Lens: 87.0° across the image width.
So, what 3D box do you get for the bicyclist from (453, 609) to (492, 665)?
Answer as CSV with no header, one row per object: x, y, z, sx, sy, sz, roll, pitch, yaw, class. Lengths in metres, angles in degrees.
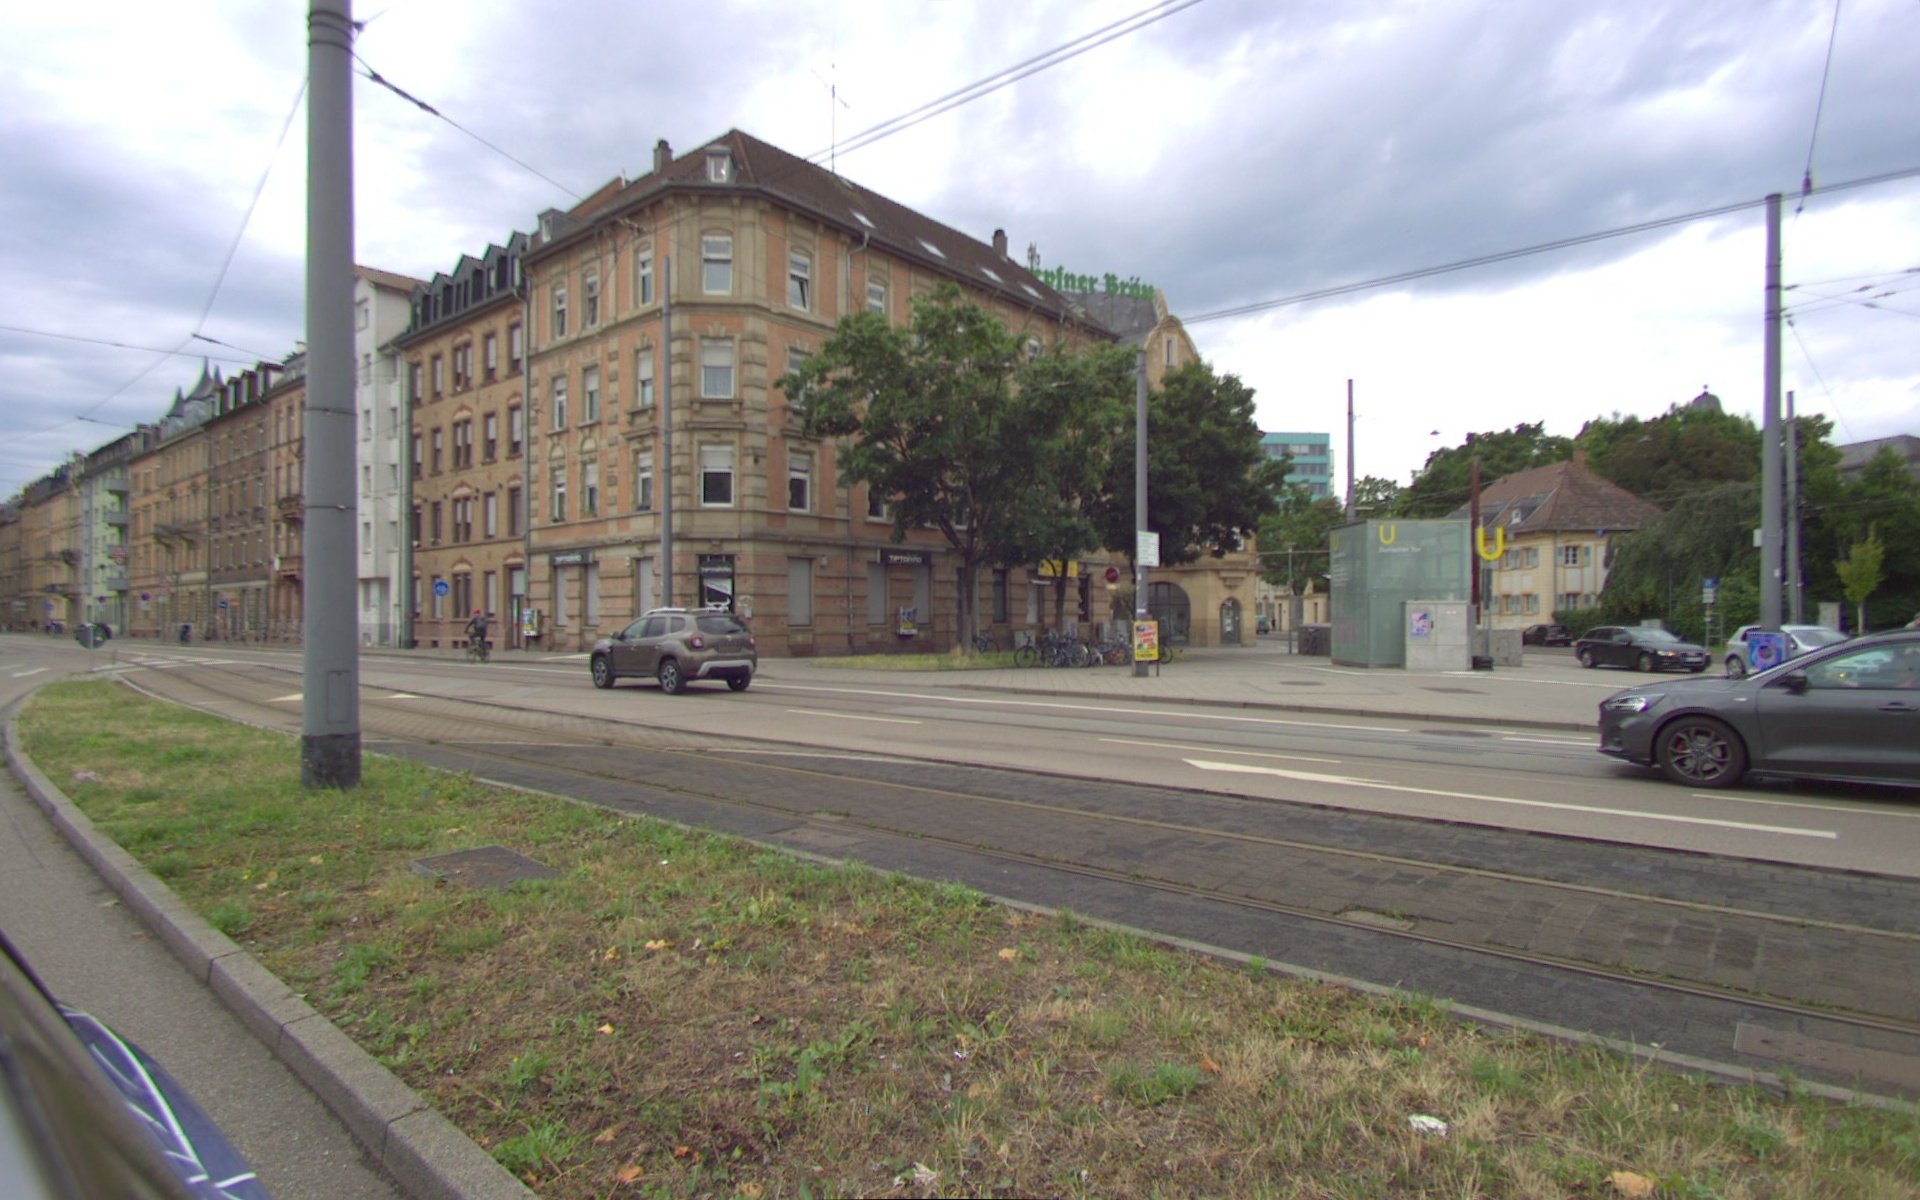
-16.665,1.268,34.602,1.048,1.906,0.821,-2,-3,39,bicyclist

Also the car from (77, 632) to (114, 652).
-68.787,3.339,80.527,3.828,1.491,1.828,-1,-2,43,car

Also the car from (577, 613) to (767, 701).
-6.049,1.104,20.995,4.227,1.652,1.779,-1,-1,41,car

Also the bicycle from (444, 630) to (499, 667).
-16.741,1.652,34.644,2.232,1.217,0.816,-2,-3,40,bicycle

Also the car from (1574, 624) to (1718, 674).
21.795,1.524,32.383,1.673,1.460,4.144,-1,-1,-1,car

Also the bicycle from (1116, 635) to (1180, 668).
6.357,1.730,34.286,0.678,1.047,2.224,0,-1,-39,bicycle

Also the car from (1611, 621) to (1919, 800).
8.262,0.886,8.551,4.394,1.406,1.674,-2,-2,44,car

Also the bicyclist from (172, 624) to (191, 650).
-46.100,2.165,59.905,0.941,1.506,0.655,-1,-1,37,bicyclist

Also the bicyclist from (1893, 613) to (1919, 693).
19.963,1.085,20.717,0.843,1.635,0.917,0,-2,1,bicyclist

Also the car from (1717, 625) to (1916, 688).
21.897,1.387,26.137,1.739,1.465,4.156,-1,-1,4,car

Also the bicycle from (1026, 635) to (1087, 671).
2.862,1.561,30.184,0.513,0.994,2.041,0,-1,-39,bicycle

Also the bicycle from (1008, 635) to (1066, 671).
2.247,1.544,29.757,0.492,0.994,1.872,1,-2,-41,bicycle

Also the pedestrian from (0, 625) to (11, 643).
-104.954,3.738,111.322,0.733,2.029,0.804,-1,-2,41,pedestrian

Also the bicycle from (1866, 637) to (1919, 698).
19.959,1.383,20.716,0.845,1.217,2.197,0,-1,1,bicycle

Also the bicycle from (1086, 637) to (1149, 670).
5.033,1.690,32.498,0.492,0.994,2.224,0,-1,-39,bicycle

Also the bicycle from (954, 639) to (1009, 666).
0.808,1.971,38.002,1.982,0.921,0.655,-4,-5,31,bicycle

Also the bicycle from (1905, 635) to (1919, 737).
12.730,1.086,12.995,0.816,1.252,1.971,-3,-4,43,bicycle

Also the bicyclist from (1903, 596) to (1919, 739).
12.779,0.856,13.054,0.816,1.812,1.015,-3,-3,43,bicyclist

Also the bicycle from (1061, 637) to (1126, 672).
4.032,1.638,30.842,0.492,0.994,2.224,0,-1,-39,bicycle

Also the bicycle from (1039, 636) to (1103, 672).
3.314,1.604,30.510,0.472,1.014,2.224,0,-1,-39,bicycle

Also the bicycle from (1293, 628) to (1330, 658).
13.931,1.705,40.129,0.730,1.123,2.361,-1,-1,3,bicycle

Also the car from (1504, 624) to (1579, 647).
35.609,2.158,62.092,1.904,1.298,4.006,0,-1,-7,car

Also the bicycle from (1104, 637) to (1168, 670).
5.757,1.730,33.161,0.576,0.994,2.224,0,-1,-39,bicycle

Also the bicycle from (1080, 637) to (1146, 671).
4.799,1.691,31.839,0.601,0.994,2.224,0,-1,-39,bicycle

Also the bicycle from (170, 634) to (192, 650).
-46.103,2.480,59.908,1.716,0.922,0.600,-1,-1,37,bicycle
